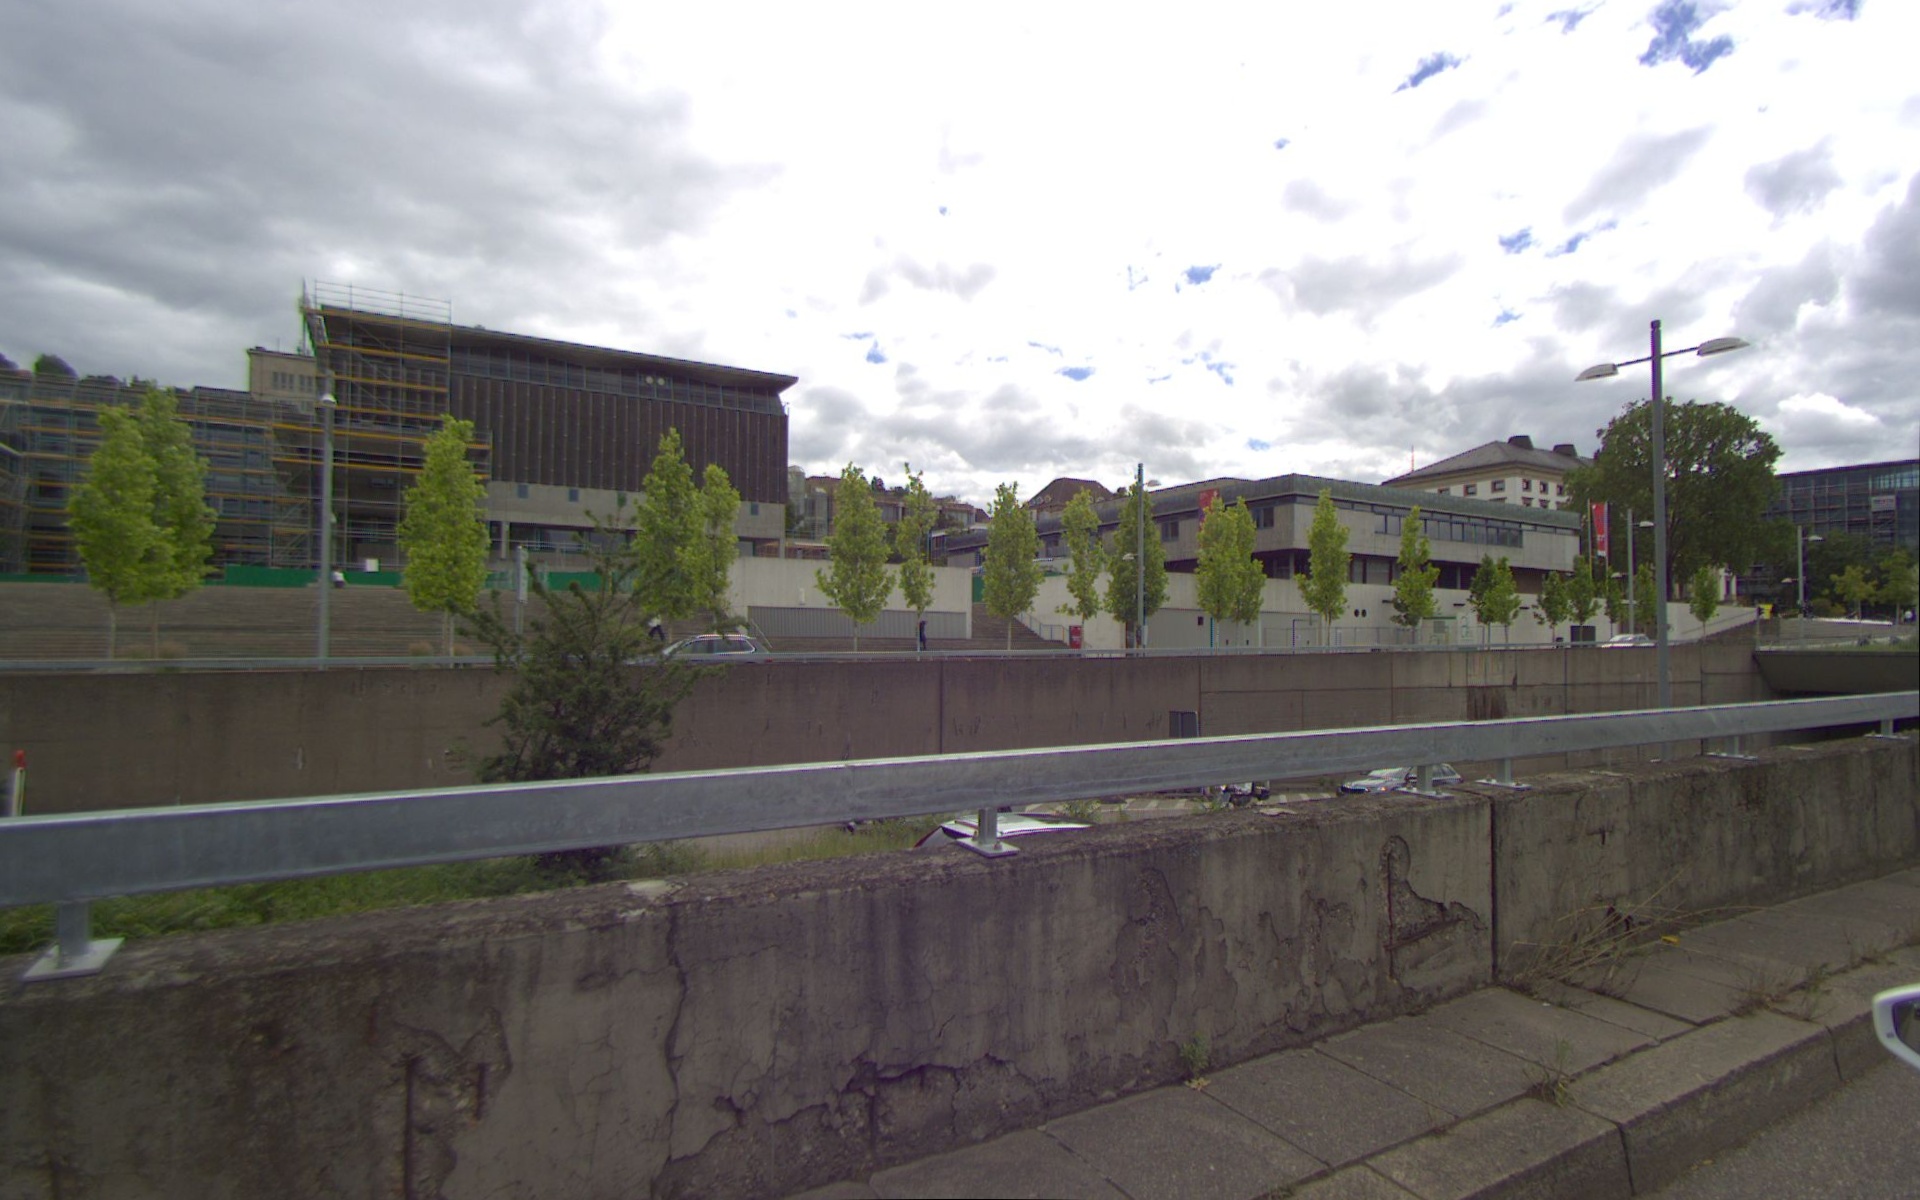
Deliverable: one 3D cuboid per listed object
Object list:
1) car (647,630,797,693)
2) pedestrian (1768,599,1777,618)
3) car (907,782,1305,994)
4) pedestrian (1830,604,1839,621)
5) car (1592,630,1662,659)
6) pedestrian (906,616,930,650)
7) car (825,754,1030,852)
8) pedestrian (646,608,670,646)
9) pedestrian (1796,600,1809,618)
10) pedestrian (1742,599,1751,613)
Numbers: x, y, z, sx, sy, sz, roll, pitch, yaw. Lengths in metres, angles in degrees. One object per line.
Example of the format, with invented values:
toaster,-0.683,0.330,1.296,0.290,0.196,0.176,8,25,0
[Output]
car,-6.221,1.557,26.275,3.481,1.506,1.694,1,-1,-30
pedestrian,73.636,0.765,91.033,0.631,1.752,0.692,2,0,37
car,1.878,3.354,12.453,4.683,1.638,1.984,2,-2,-30
pedestrian,91.189,1.272,104.712,0.690,1.752,0.633,2,0,-45
car,36.636,2.432,55.152,3.665,1.446,1.800,2,0,-31
pedestrian,-2.148,1.711,51.453,0.991,1.662,0.638,2,3,-30
car,-0.678,4.351,21.964,4.166,1.506,1.740,1,-1,-30
pedestrian,-13.645,1.229,45.364,0.849,1.662,0.638,2,3,-30
pedestrian,82.268,0.911,98.032,0.629,1.752,0.694,2,0,-6
pedestrian,96.360,0.733,123.078,0.686,1.752,0.636,2,0,-29
